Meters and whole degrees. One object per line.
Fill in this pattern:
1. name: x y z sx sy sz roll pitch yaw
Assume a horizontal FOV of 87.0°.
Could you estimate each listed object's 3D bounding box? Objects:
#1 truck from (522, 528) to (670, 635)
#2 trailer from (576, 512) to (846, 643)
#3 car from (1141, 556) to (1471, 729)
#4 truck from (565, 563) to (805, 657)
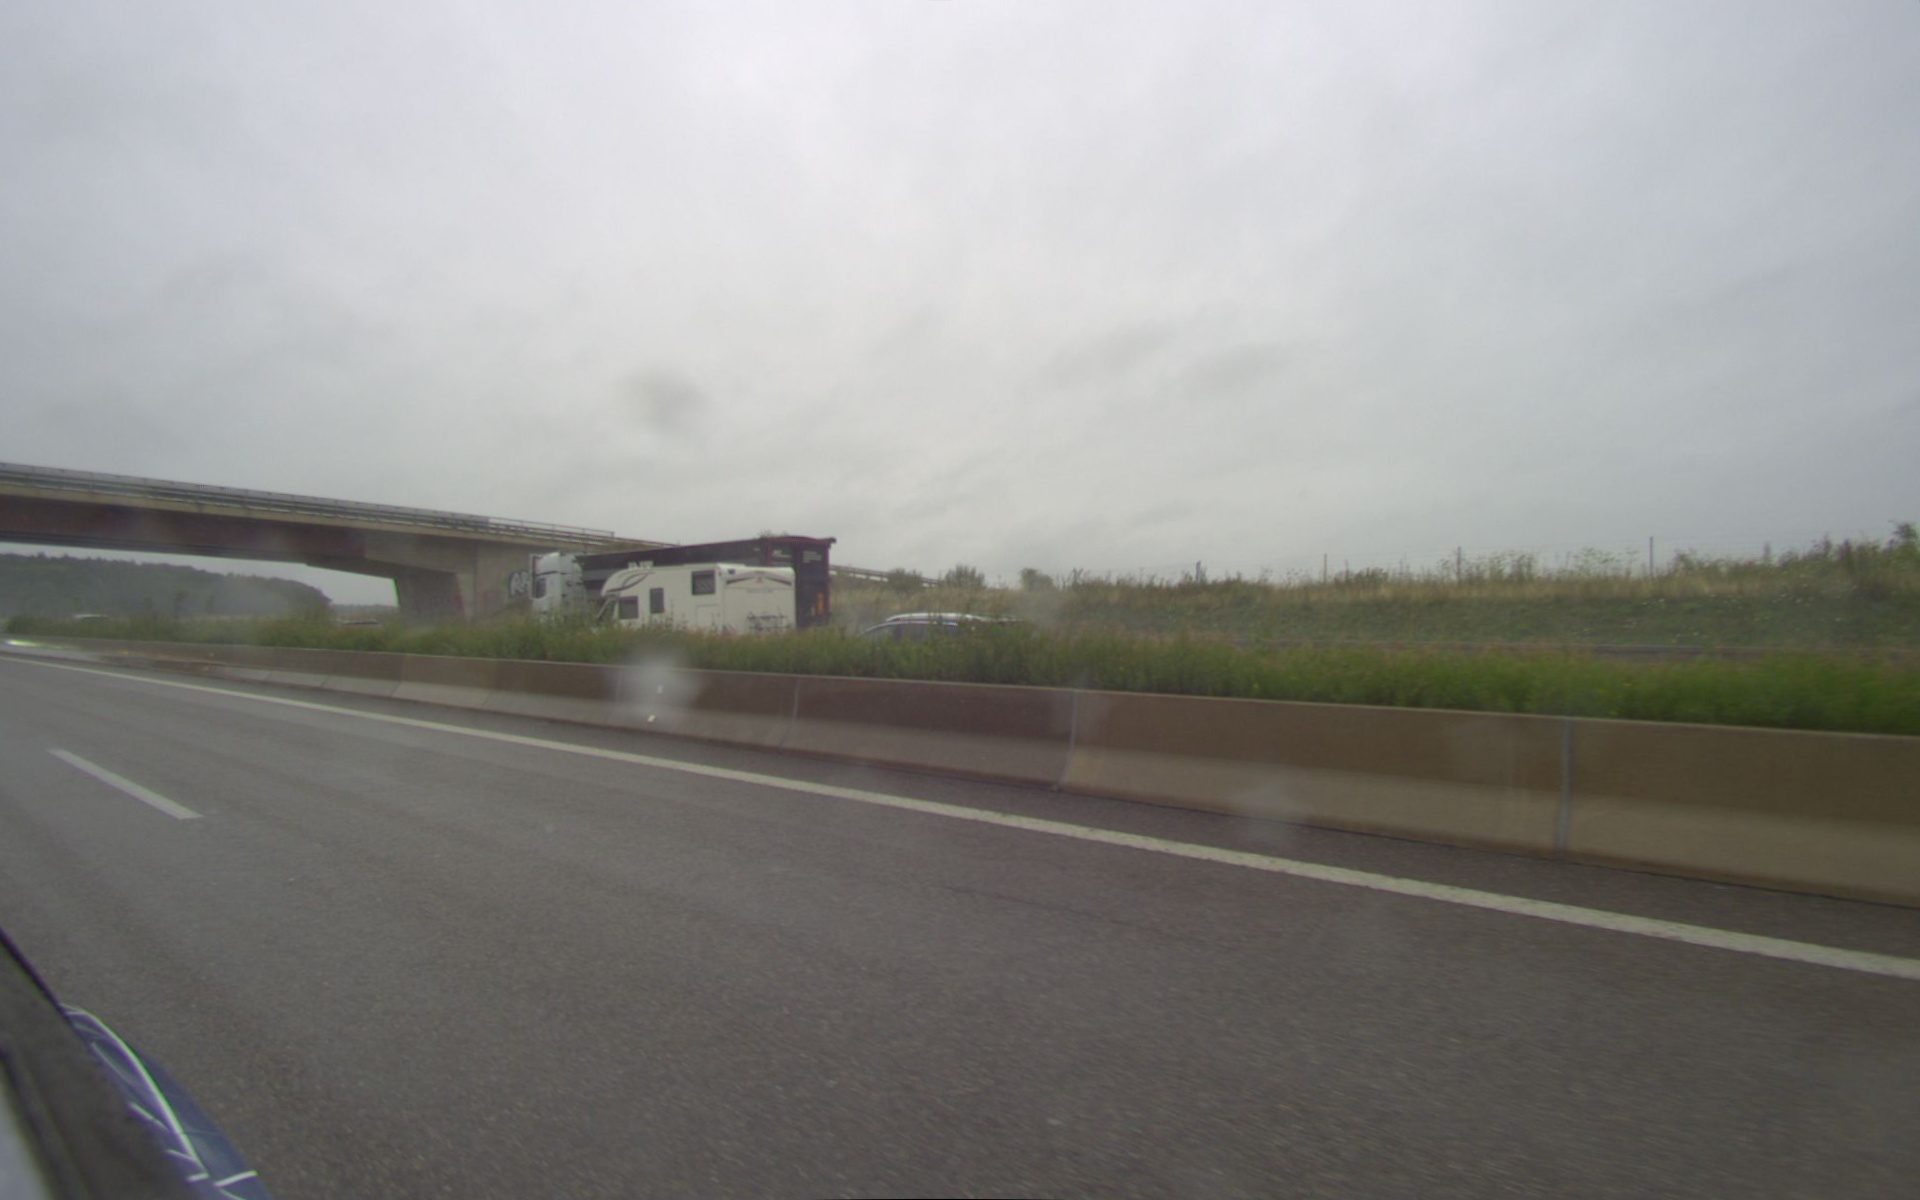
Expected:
1. truck: -13.537 -0.633 37.459 5.736 3.635 2.750 0 0 41
2. trailer: -8.467 -0.639 32.949 11.146 3.648 2.734 0 0 42
3. car: 3.966 0.464 11.865 3.351 1.735 1.472 -1 -2 41
4. truck: -7.454 0.224 26.819 7.421 2.171 2.449 0 0 41
